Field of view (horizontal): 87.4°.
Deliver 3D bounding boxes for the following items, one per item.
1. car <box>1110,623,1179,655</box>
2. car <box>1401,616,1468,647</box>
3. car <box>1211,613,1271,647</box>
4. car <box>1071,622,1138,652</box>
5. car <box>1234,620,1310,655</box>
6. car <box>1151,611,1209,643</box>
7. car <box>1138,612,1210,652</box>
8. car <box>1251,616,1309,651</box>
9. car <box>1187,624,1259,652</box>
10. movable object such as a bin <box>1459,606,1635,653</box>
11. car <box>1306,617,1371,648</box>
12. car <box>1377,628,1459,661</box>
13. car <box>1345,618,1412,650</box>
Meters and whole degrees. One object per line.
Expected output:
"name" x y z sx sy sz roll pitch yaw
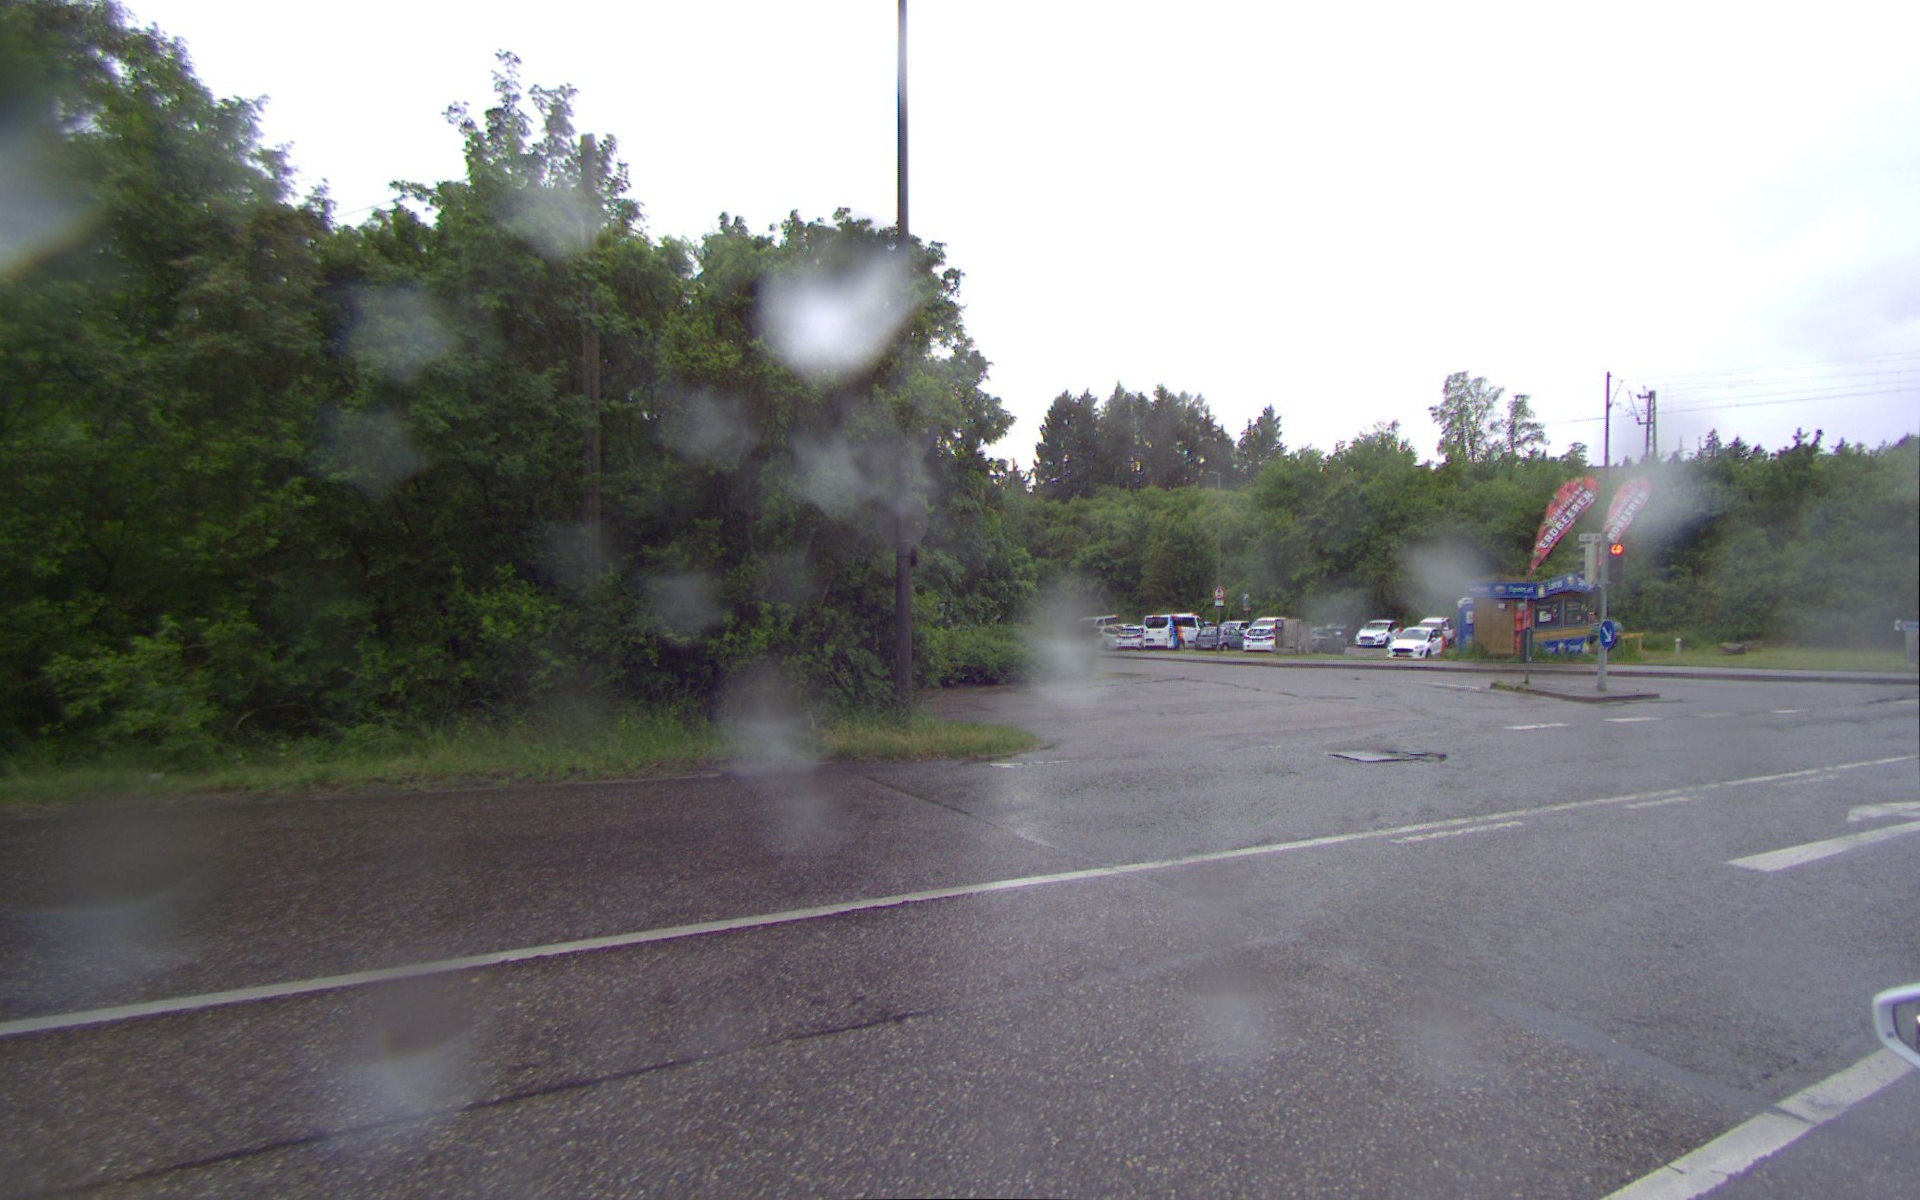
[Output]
"car" 10.169 2.149 55.206 1.834 1.606 3.978 1 -1 42
"car" 25.630 1.721 54.237 3.972 1.606 1.975 2 -2 -43
"car" 17.832 1.914 63.660 3.973 2.040 1.974 2 -2 -44
"car" 8.256 2.125 57.104 1.813 1.606 3.978 1 -1 42
"car" 15.647 1.902 50.268 3.880 1.606 1.918 3 -1 -43
"car" 14.731 1.787 67.078 1.972 2.040 3.976 1 -1 44
"car" 11.393 1.709 53.269 1.971 1.974 3.978 2 -1 42
"car" 19.701 2.046 61.777 1.916 2.040 3.846 1 0 43
"car" 13.652 1.991 52.018 3.972 1.327 1.734 3 -1 -43
"movable object such as a bin" 24.177 1.202 41.623 5.663 1.649 2.753 2 -1 10
"car" 21.977 1.891 58.230 3.972 1.606 1.975 3 -1 -43
"car" 20.773 2.026 45.471 4.869 1.358 1.636 3 -1 -43
"car" 23.429 1.914 56.230 3.972 1.606 1.975 3 -1 -43
